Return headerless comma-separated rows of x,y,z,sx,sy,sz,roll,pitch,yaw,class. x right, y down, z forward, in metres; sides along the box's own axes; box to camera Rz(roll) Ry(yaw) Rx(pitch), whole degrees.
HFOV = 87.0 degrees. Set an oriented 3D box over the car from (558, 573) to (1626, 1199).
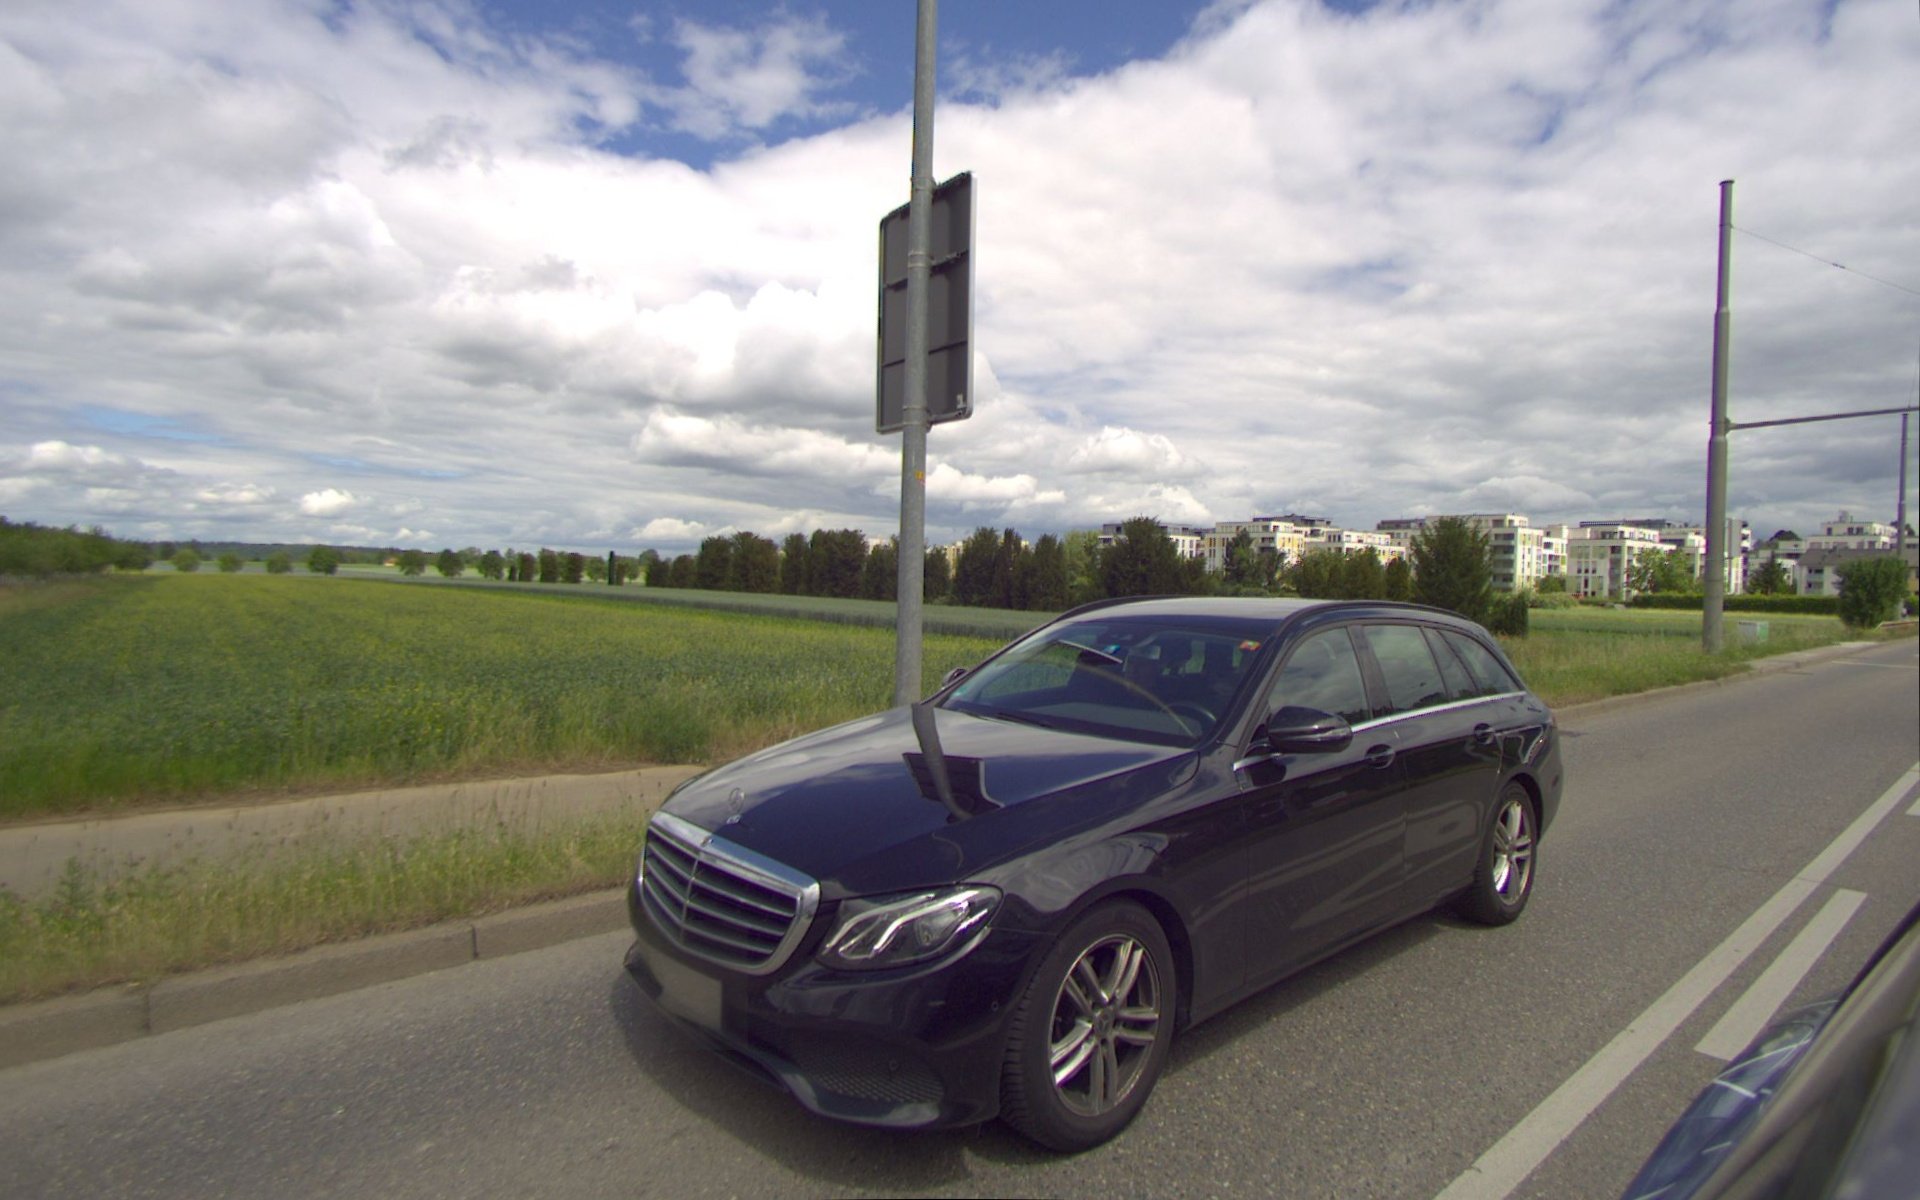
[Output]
1.127,0.676,4.527,5.111,1.458,1.875,0,2,-42,car
